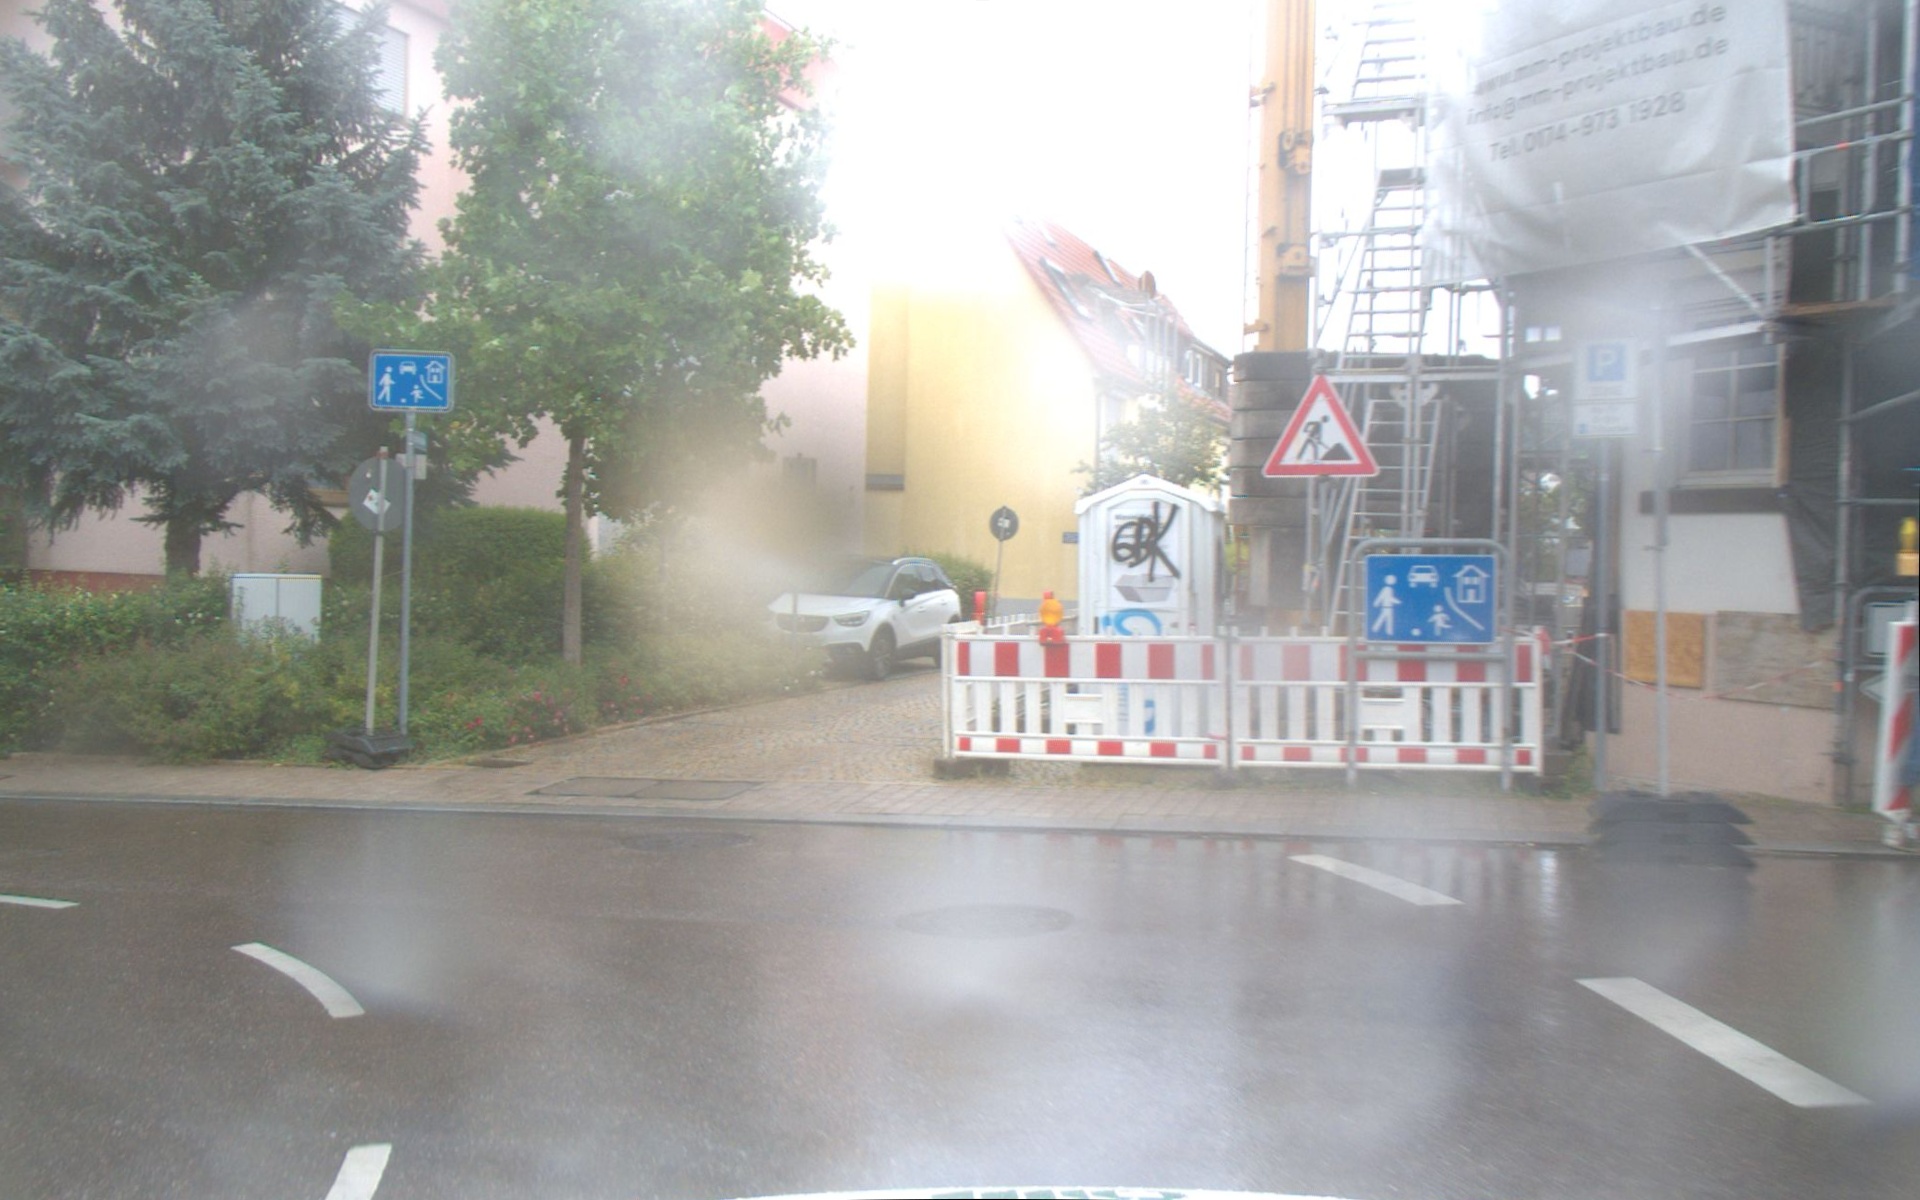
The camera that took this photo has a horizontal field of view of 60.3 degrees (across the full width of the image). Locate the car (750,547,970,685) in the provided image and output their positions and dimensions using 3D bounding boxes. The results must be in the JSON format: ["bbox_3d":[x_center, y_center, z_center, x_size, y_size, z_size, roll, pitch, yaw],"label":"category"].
[{"bbox_3d":[-1.293,0.143,23.133,1.567,1.707,3.939,2,2,20],"label":"car"}]
